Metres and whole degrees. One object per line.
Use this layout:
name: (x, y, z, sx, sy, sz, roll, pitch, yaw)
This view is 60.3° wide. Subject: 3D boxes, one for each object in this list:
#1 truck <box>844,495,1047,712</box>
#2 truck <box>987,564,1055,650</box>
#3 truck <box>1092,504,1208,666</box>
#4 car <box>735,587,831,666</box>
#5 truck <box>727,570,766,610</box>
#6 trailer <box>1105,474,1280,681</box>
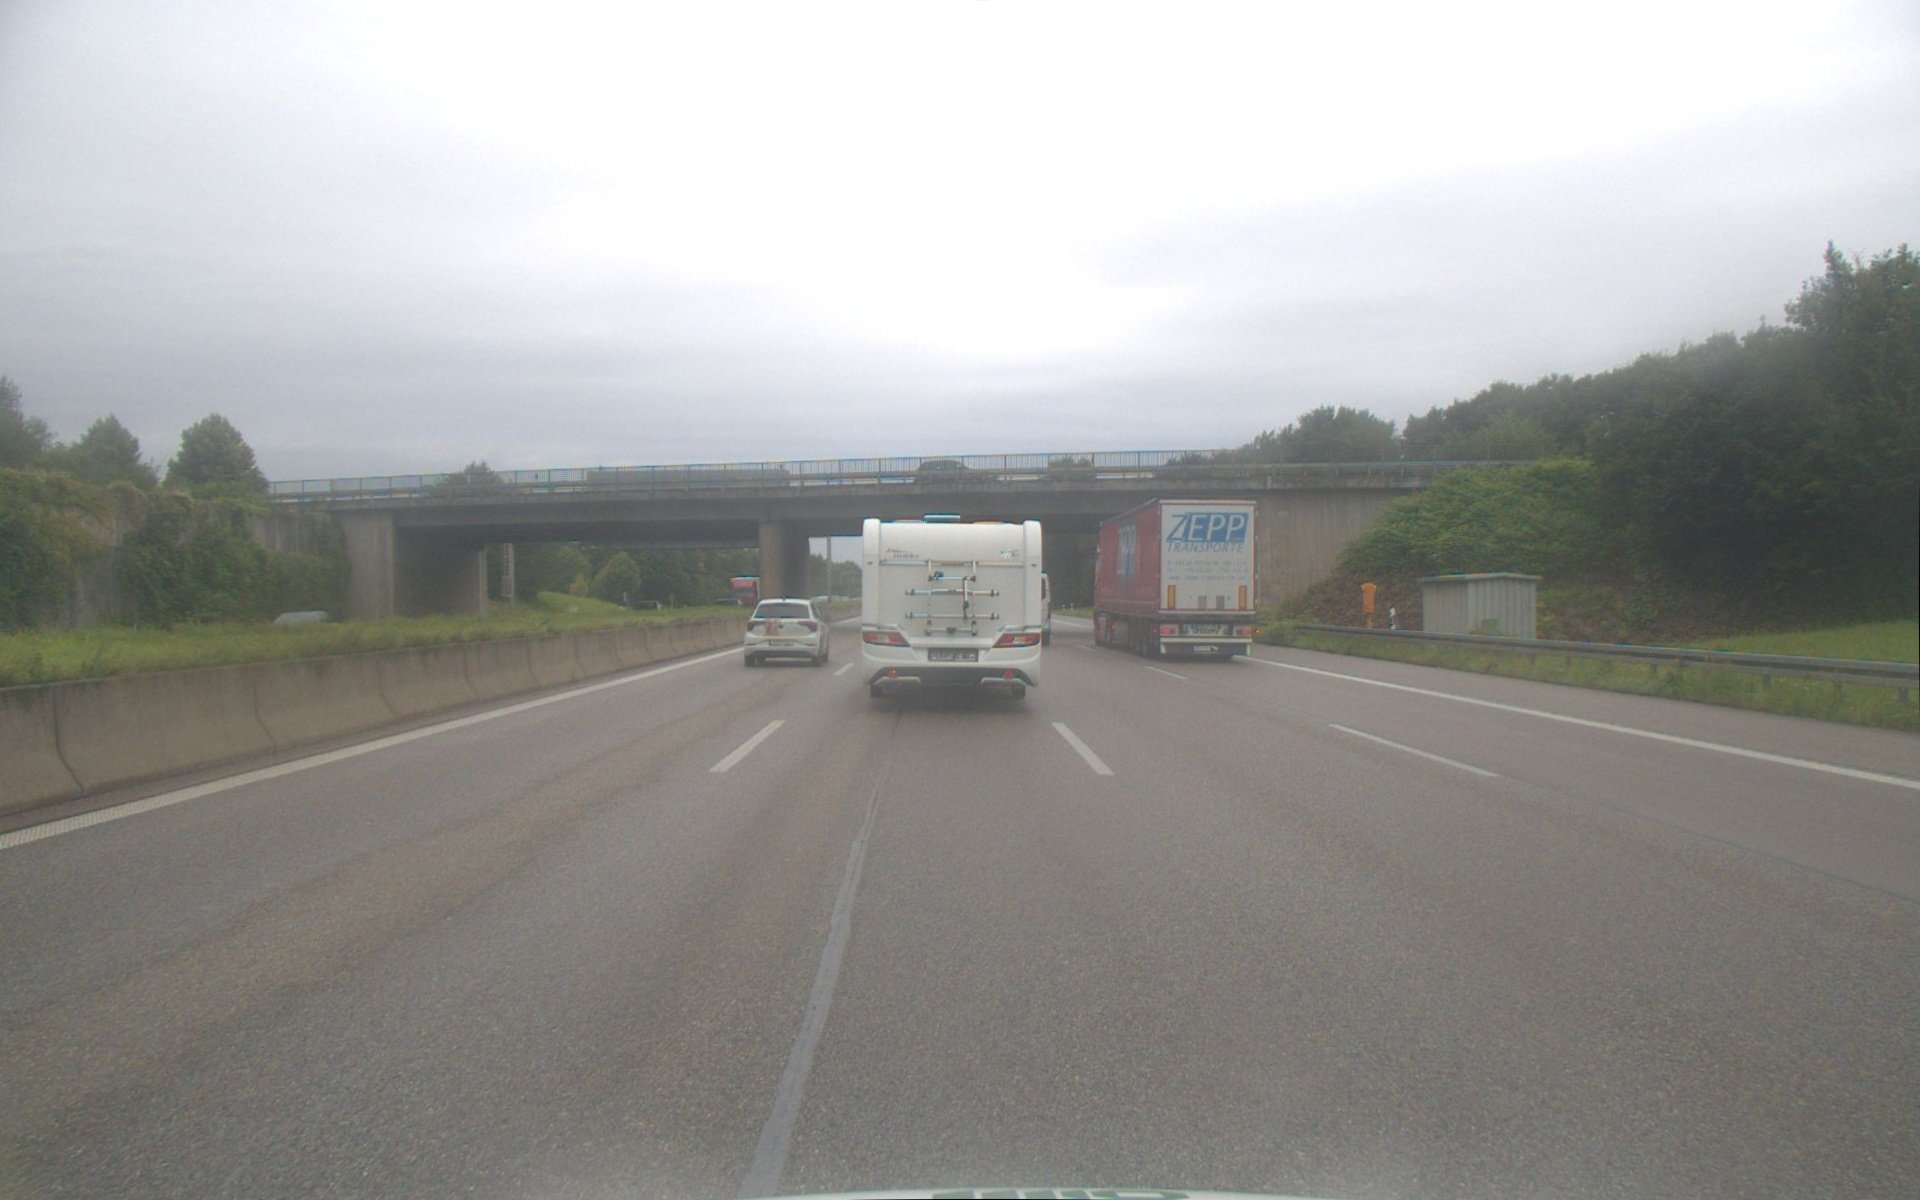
truck: (-0.243, 0.055, 24.142, 2.607, 2.790, 5.076, 1, 0, -1)
truck: (2.052, 0.245, 57.119, 2.011, 2.818, 5.547, 1, 0, -1)
truck: (6.103, -0.450, 53.880, 2.986, 4.924, 5.849, 1, 0, -1)
car: (-3.921, 0.547, 37.266, 1.717, 1.646, 4.663, -1, 0, -1)
truck: (-21.375, -1.003, 165.802, 2.638, 3.919, 10.109, -1, 0, -1)
trailer: (6.207, -0.527, 46.409, 3.037, 5.008, 11.787, 1, 0, -1)
